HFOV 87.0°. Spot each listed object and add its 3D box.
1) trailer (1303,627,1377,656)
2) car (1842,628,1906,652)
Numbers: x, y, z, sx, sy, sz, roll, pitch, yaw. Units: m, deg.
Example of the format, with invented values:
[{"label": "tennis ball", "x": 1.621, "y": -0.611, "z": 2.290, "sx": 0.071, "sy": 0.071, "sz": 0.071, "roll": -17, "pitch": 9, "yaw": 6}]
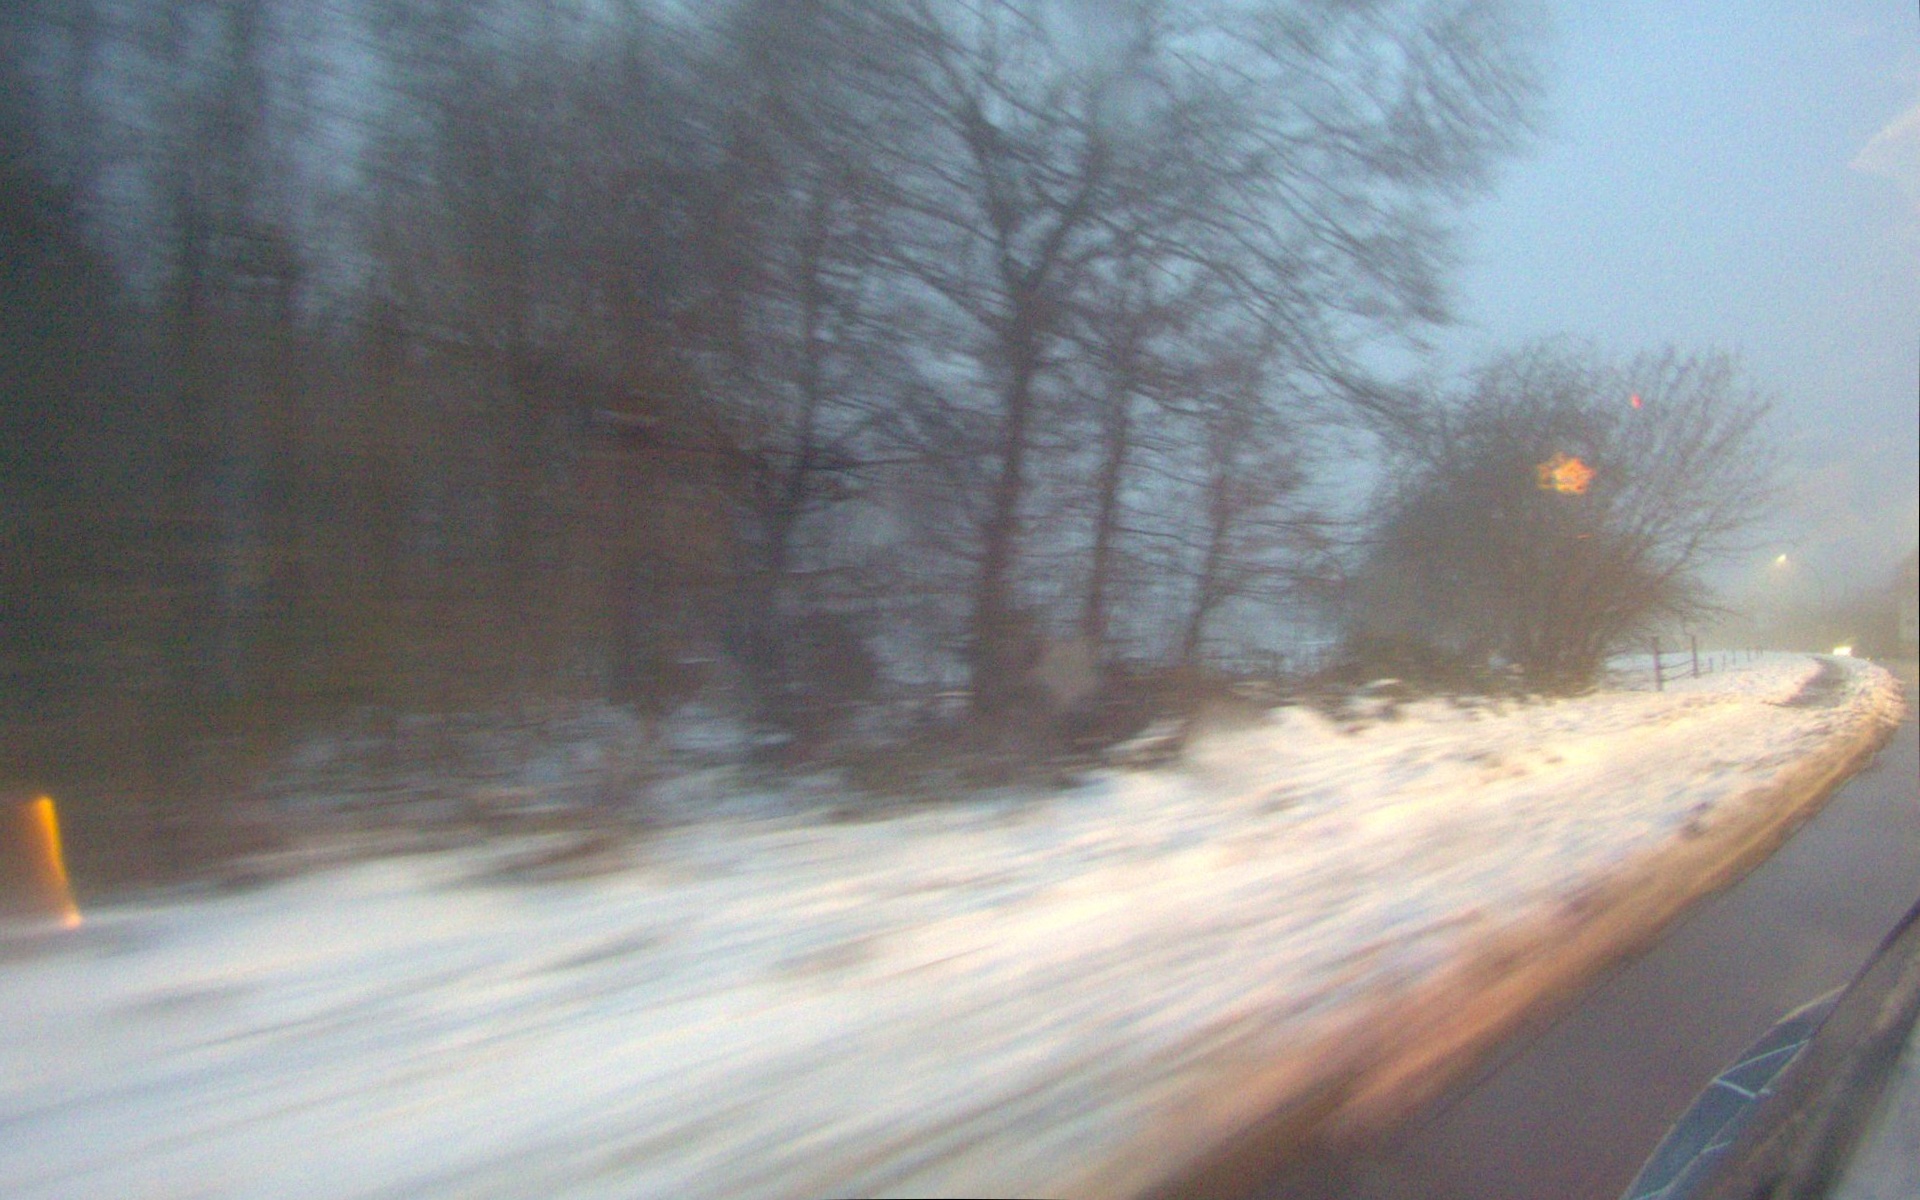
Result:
[{"label": "trailer", "x": 27.003, "y": 2.945, "z": 71.877, "sx": 4.708, "sy": 1.968, "sz": 2.203, "roll": -2, "pitch": -4, "yaw": 26}, {"label": "car", "x": 58.315, "y": 2.599, "z": 64.691, "sx": 1.866, "sy": 1.445, "sz": 5.333, "roll": -1, "pitch": -3, "yaw": 30}]
